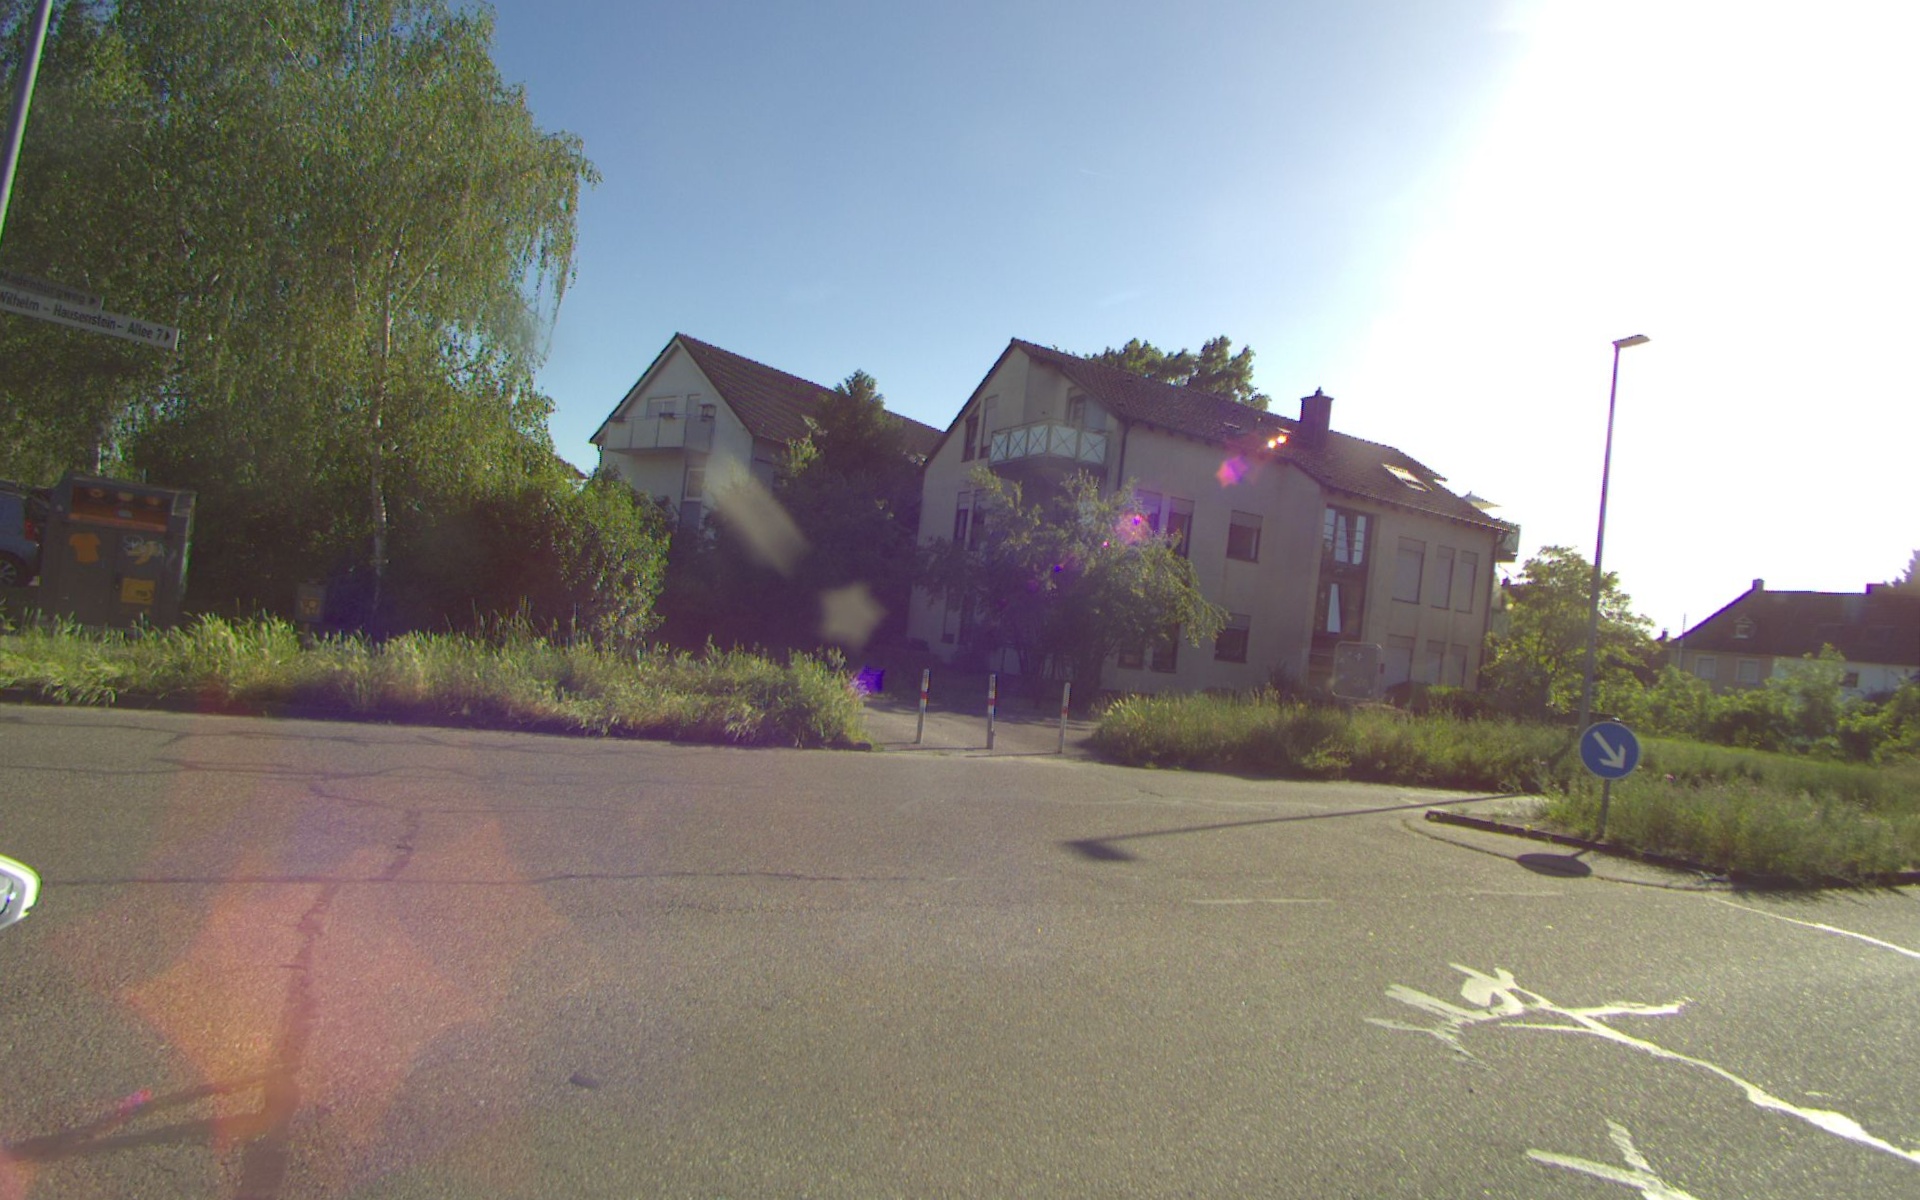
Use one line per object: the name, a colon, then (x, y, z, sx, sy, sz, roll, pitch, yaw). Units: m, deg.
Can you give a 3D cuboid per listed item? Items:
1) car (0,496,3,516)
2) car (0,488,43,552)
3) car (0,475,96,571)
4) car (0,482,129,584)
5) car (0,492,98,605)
car: (-28.537, -2.507, 27.005, 1.775, 1.292, 3.980, 6, -3, 44)
car: (-26.455, -2.336, 25.941, 1.923, 1.520, 3.980, 6, -3, 44)
car: (-20.286, -1.789, 20.107, 1.761, 1.726, 4.111, 8, -1, 33)
car: (-18.146, -1.419, 18.439, 1.762, 1.622, 4.058, 8, -1, 34)
car: (-14.750, -0.968, 13.943, 4.036, 1.455, 1.618, 10, -2, -38)
